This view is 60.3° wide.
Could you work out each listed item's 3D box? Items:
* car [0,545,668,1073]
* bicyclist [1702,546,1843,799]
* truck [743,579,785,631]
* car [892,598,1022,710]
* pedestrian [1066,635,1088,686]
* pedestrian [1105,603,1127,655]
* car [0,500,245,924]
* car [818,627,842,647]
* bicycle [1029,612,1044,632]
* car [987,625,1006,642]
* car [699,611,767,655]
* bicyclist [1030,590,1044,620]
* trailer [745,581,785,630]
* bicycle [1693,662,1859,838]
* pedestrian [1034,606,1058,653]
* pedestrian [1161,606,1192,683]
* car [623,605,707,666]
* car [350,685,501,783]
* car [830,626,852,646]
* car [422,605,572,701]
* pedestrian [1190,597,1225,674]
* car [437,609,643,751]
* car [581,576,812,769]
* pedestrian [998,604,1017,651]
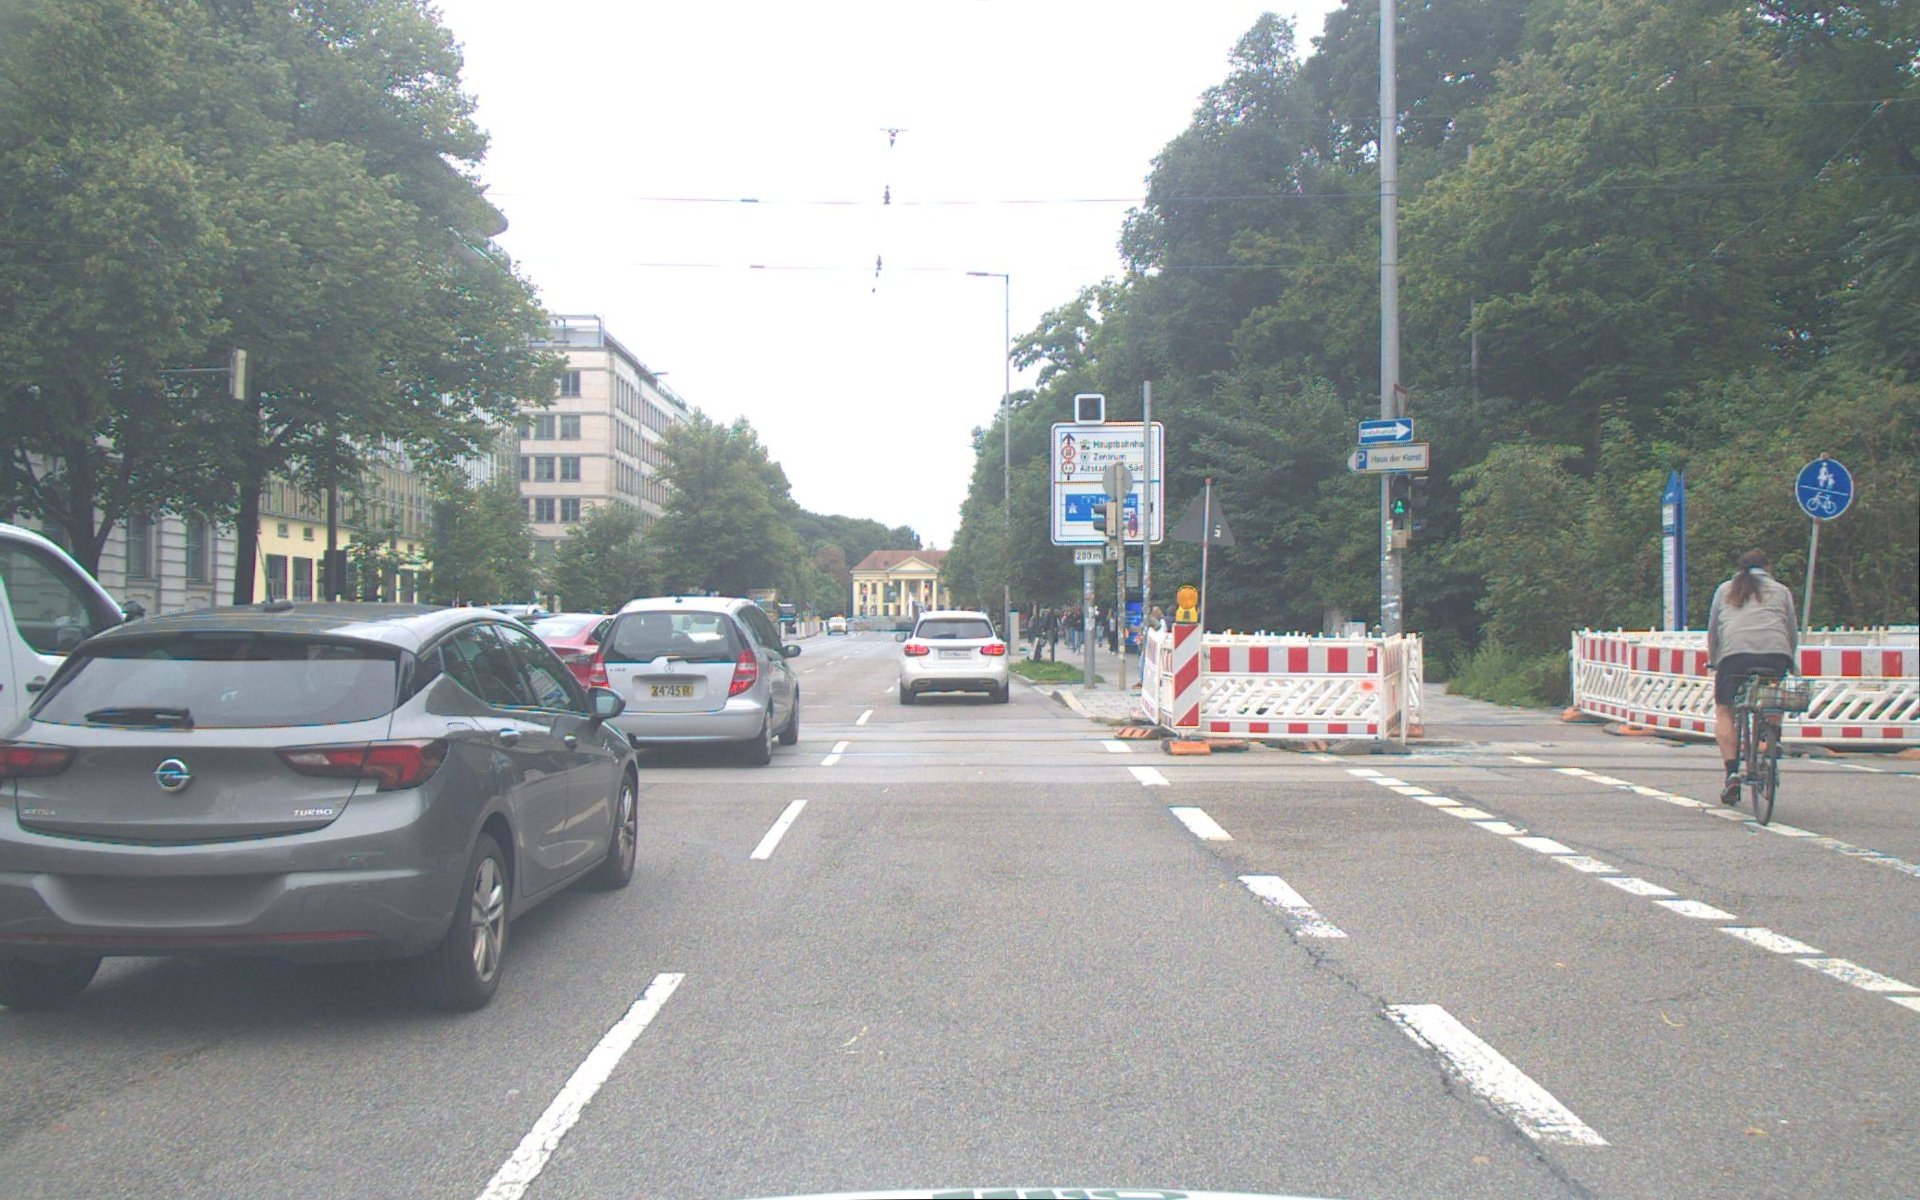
[{"bbox_3d":[-2.427,0.676,7.062,1.675,1.579,3.999,2,-1,-1],"label":"car"},{"bbox_3d":[5.718,0.496,11.686,0.740,1.696,0.899,1,-1,17],"label":"bicyclist"},{"bbox_3d":[-15.398,0.444,130.232,2.859,3.841,7.657,2,-1,-5],"label":"truck"},{"bbox_3d":[-0.123,0.867,27.428,1.745,1.673,3.995,2,-1,-6],"label":"car"},{"bbox_3d":[4.496,2.319,63.557,0.693,1.949,0.956,2,-1,-1],"label":"pedestrian"},{"bbox_3d":[5.946,1.095,63.186,0.693,1.949,0.956,2,-1,-1],"label":"pedestrian"},{"bbox_3d":[-5.186,0.495,7.412,1.860,1.880,4.954,0,-1,-1],"label":"car"},{"bbox_3d":[-11.742,3.338,149.616,1.819,1.779,4.629,-1,-1,0],"label":"car"},{"bbox_3d":[4.124,1.189,89.018,0.661,1.048,2.012,2,-1,-1],"label":"bicycle"},{"bbox_3d":[3.631,3.323,163.960,1.790,1.577,4.751,0,-1,0],"label":"car"},{"bbox_3d":[-8.041,1.166,58.964,1.731,1.448,4.746,-1,-1,0],"label":"car"},{"bbox_3d":[4.163,0.266,89.042,0.693,1.589,0.639,2,-1,-1],"label":"bicyclist"},{"bbox_3d":[-16.175,0.550,137.952,2.892,3.806,11.756,2,-1,-5],"label":"trailer"},{"bbox_3d":[5.700,0.996,11.670,0.722,1.076,2.163,1,-1,18],"label":"bicycle"},{"bbox_3d":[3.562,1.211,68.427,0.790,1.914,0.542,0,-2,35],"label":"pedestrian"},{"bbox_3d":[5.349,1.110,40.920,0.657,1.871,0.641,1,-1,0],"label":"pedestrian"},{"bbox_3d":[-8.008,0.956,45.205,1.601,1.599,3.945,0,-1,-1],"label":"car"},{"bbox_3d":[-10.029,2.481,31.296,1.601,1.599,3.945,0,-1,-1],"label":"car"},{"bbox_3d":[-11.043,3.340,153.567,1.783,1.758,3.880,2,-1,0],"label":"car"},{"bbox_3d":[-8.178,0.911,29.550,1.601,1.599,3.945,0,-1,-1],"label":"car"},{"bbox_3d":[6.113,0.873,40.893,0.735,1.871,0.756,1,-1,0],"label":"pedestrian"},{"bbox_3d":[-5.481,1.009,22.097,1.743,1.683,3.999,2,-1,-1],"label":"car"},{"bbox_3d":[-2.548,0.692,16.893,1.743,1.683,3.999,2,-1,-1],"label":"car"},{"bbox_3d":[1.905,1.097,66.385,0.693,1.840,0.638,2,-1,-1],"label":"pedestrian"}]
